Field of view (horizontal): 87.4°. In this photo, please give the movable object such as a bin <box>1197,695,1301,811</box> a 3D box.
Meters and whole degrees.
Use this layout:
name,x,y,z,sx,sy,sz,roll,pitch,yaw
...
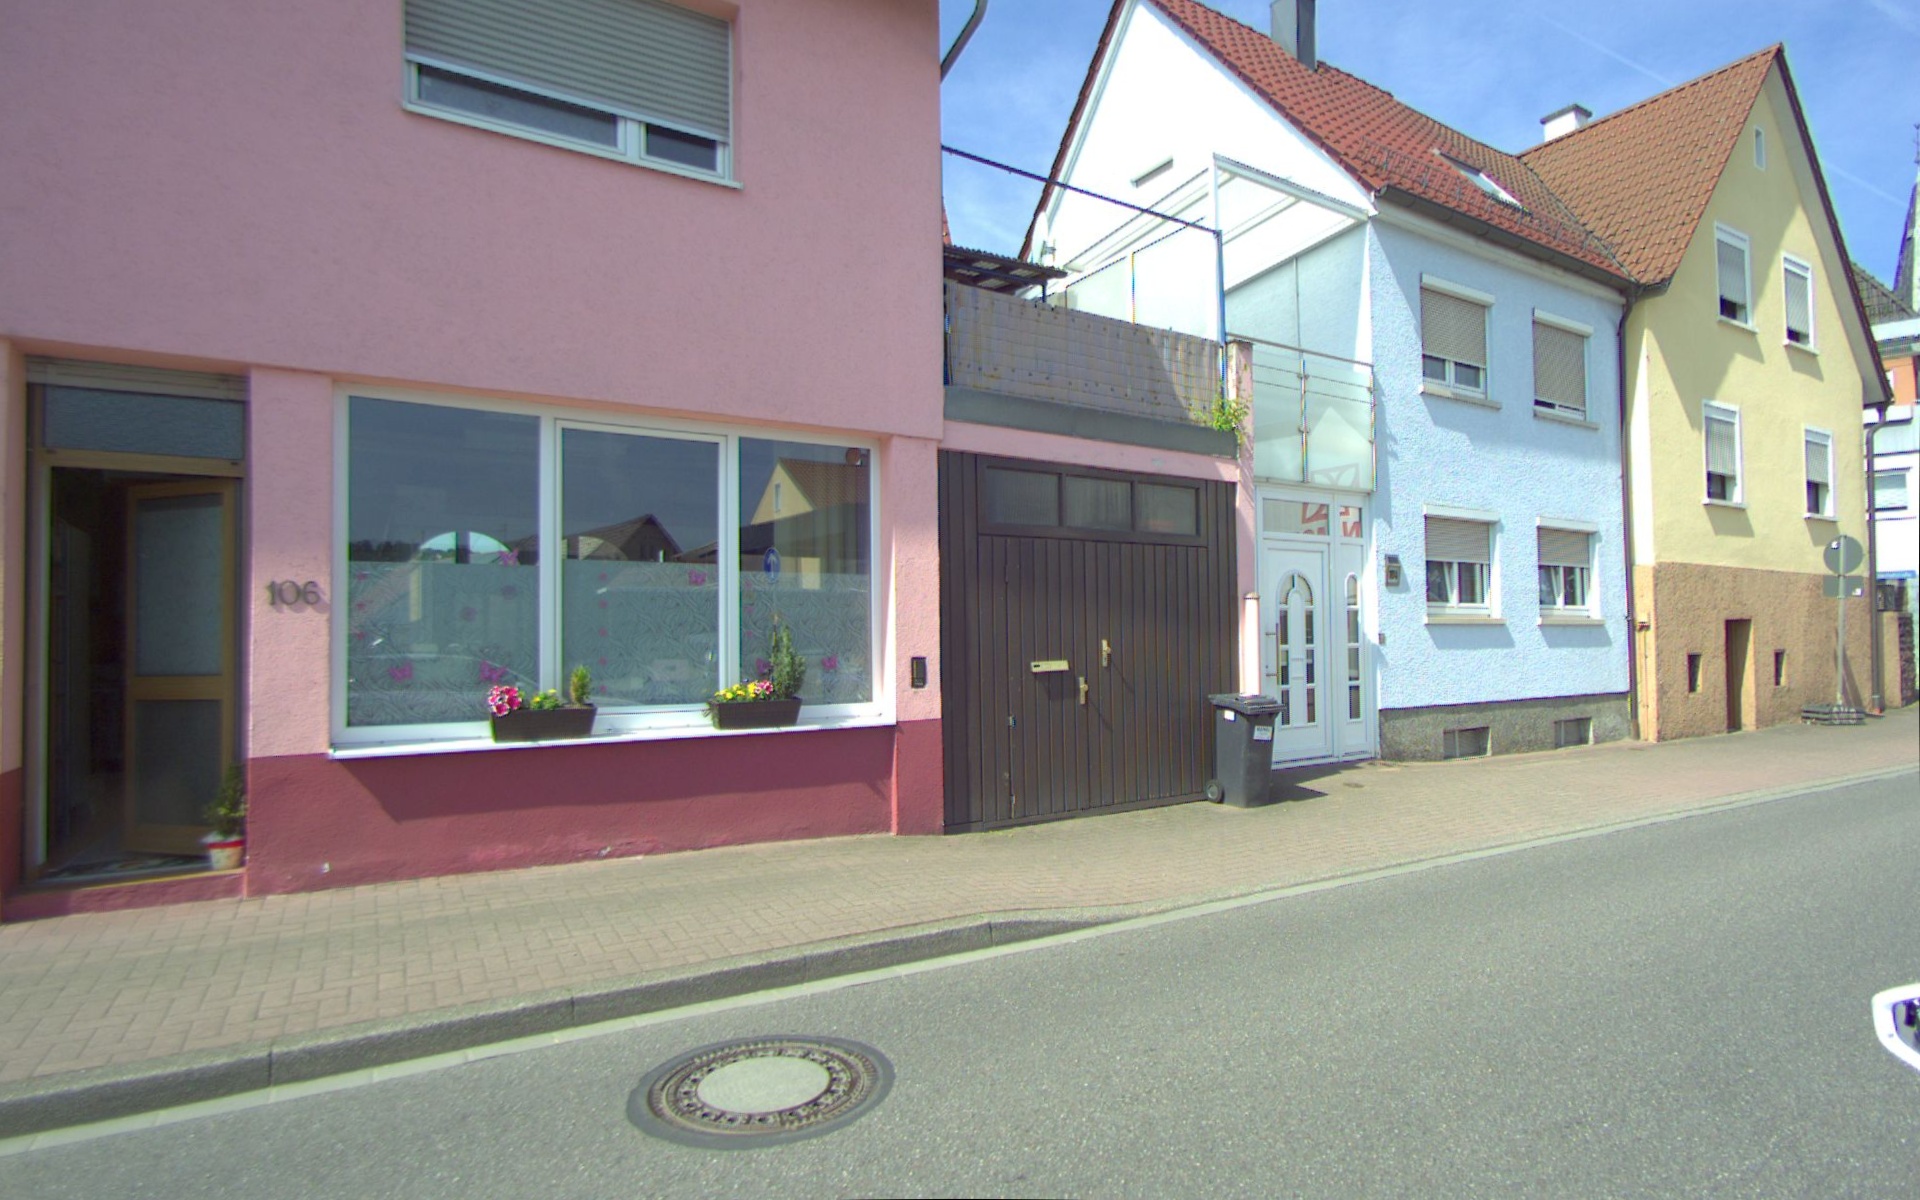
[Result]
name,x,y,z,sx,sy,sz,roll,pitch,yaw
movable object such as a bin,2.514,1.312,8.765,0.592,0.891,0.627,1,0,-29
